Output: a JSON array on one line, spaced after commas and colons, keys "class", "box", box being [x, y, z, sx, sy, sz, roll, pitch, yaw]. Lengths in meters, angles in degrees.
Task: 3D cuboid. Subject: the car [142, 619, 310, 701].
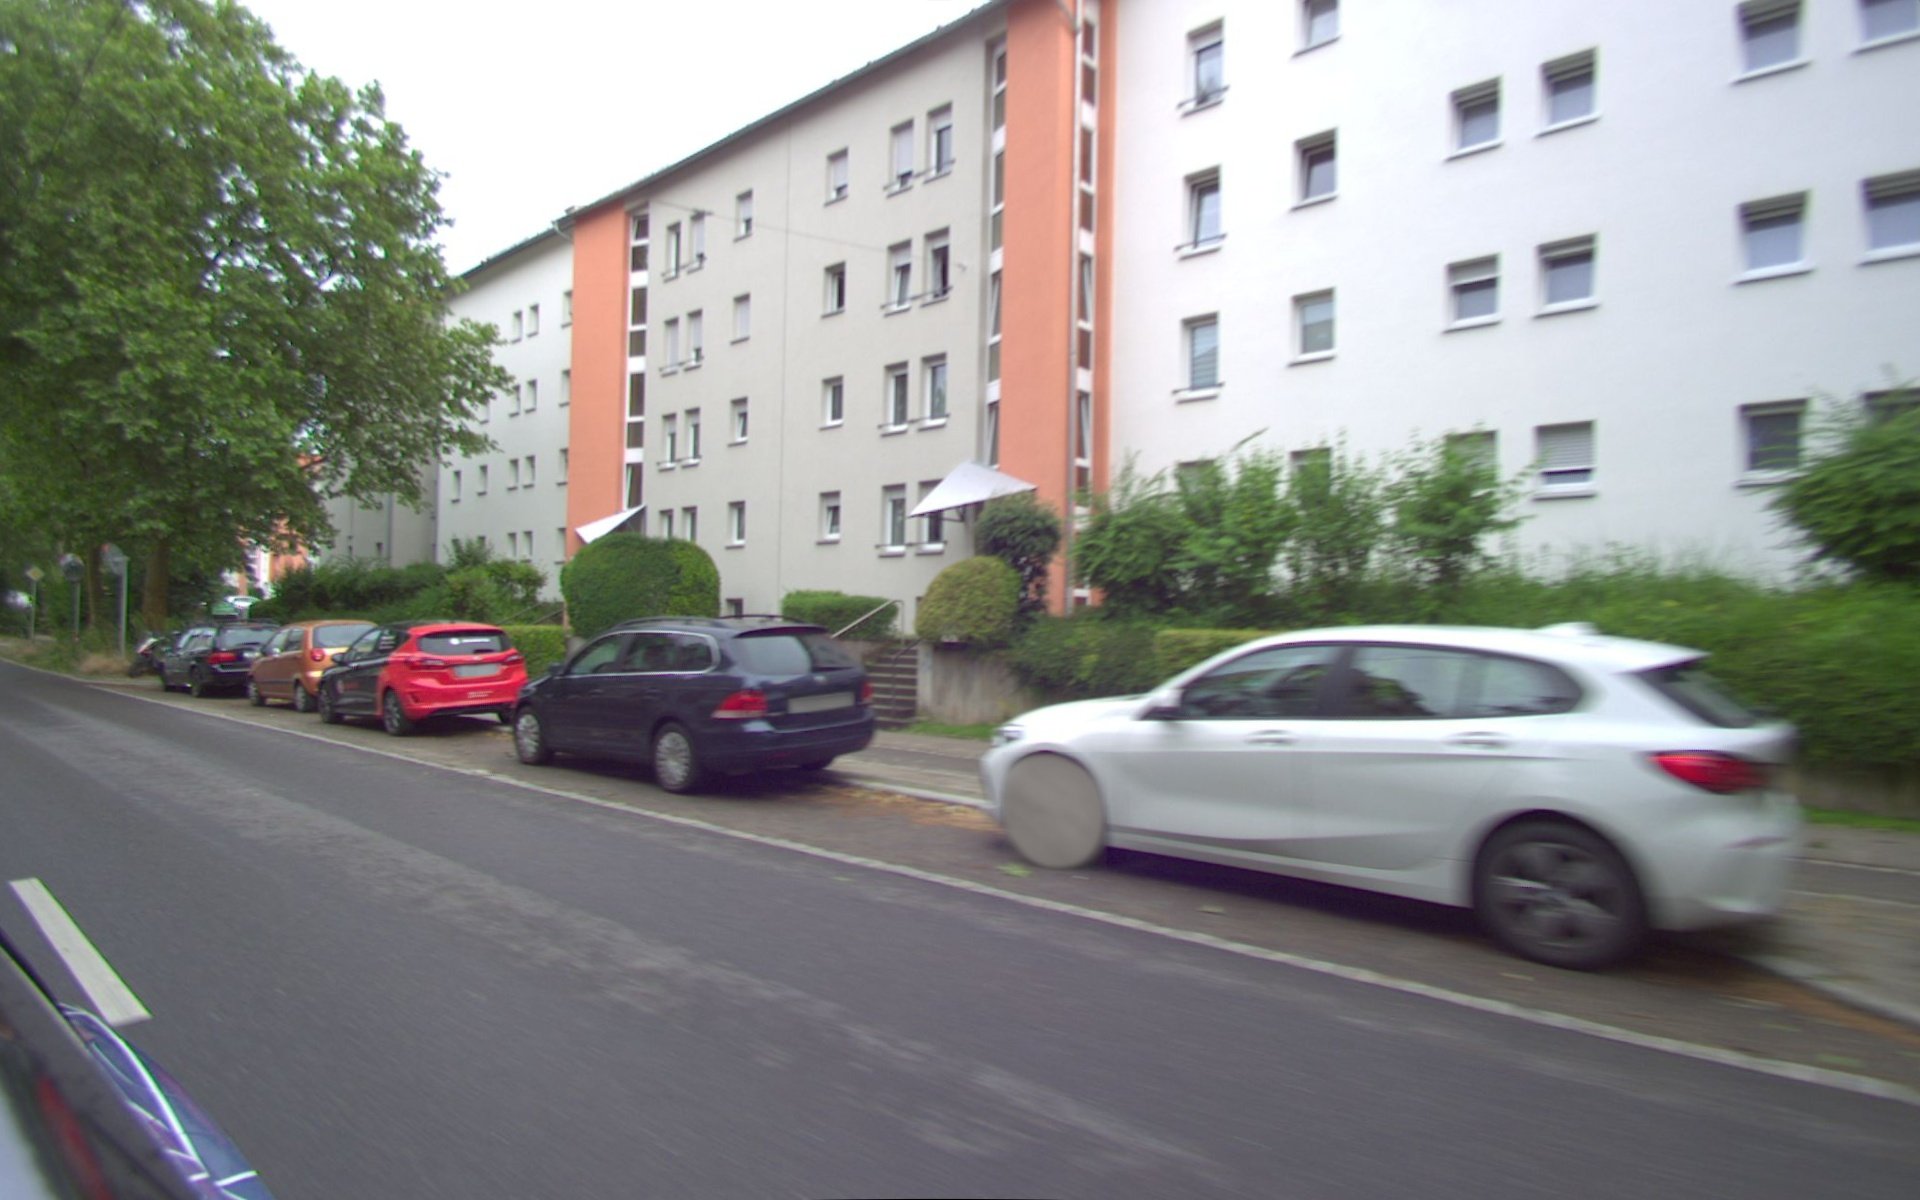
[{"class": "car", "box": [-15.422, 1.178, 21.177, 4.799, 1.521, 1.700, -1, -1, 39]}]

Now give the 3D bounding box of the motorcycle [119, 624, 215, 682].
[{"class": "motorcycle", "box": [-19.212, 1.272, 24.541, 0.722, 1.350, 1.695, -1, -3, 41]}]

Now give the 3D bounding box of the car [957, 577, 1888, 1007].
[{"class": "car", "box": [2.169, 0.763, 5.600, 4.308, 1.479, 1.698, -1, -6, 42]}]

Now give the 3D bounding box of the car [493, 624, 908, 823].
[{"class": "car", "box": [-2.619, 0.979, 9.646, 4.230, 1.478, 1.699, -1, -1, 40]}]

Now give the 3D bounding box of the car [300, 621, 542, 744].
[{"class": "car", "box": [-7.592, 1.040, 14.136, 3.752, 1.478, 1.699, -1, -1, 40]}]

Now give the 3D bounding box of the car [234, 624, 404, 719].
[{"class": "car", "box": [-11.204, 1.166, 17.615, 3.394, 1.478, 1.540, -1, -1, 40]}]
